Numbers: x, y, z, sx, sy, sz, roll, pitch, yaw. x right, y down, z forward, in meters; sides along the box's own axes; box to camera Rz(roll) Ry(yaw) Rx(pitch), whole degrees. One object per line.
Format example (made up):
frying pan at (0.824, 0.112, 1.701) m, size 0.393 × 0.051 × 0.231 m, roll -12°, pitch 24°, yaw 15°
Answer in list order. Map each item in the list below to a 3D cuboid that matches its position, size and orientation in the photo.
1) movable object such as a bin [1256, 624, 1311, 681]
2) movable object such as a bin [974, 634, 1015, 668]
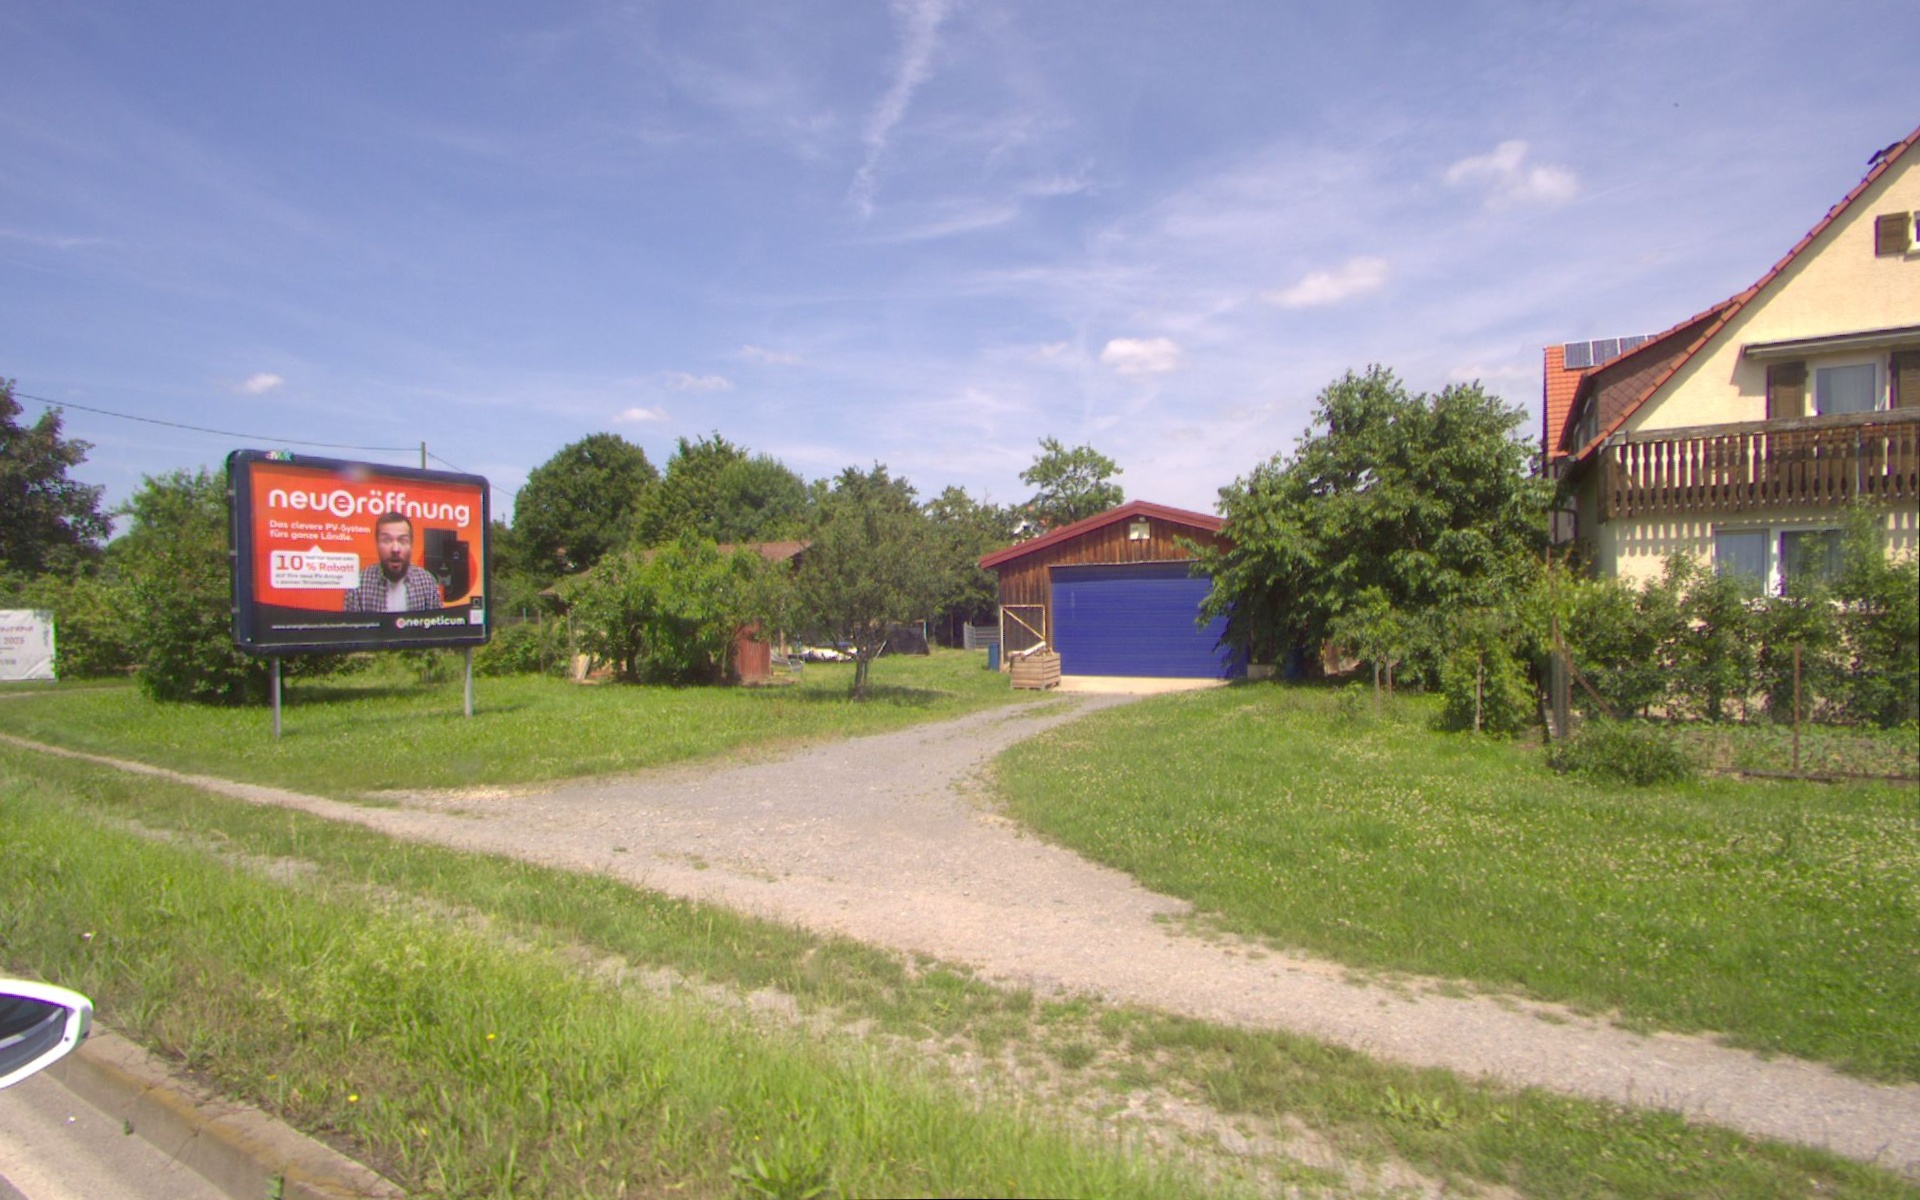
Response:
movable object such as a bin at (8.267, 1.319, 25.580) m, size 1.049 × 1.415 × 1.271 m, roll 0°, pitch -1°, yaw 33°
movable object such as a bin at (1.090, 1.594, 31.572) m, size 1.044 × 1.046 × 1.040 m, roll 0°, pitch -1°, yaw 17°
